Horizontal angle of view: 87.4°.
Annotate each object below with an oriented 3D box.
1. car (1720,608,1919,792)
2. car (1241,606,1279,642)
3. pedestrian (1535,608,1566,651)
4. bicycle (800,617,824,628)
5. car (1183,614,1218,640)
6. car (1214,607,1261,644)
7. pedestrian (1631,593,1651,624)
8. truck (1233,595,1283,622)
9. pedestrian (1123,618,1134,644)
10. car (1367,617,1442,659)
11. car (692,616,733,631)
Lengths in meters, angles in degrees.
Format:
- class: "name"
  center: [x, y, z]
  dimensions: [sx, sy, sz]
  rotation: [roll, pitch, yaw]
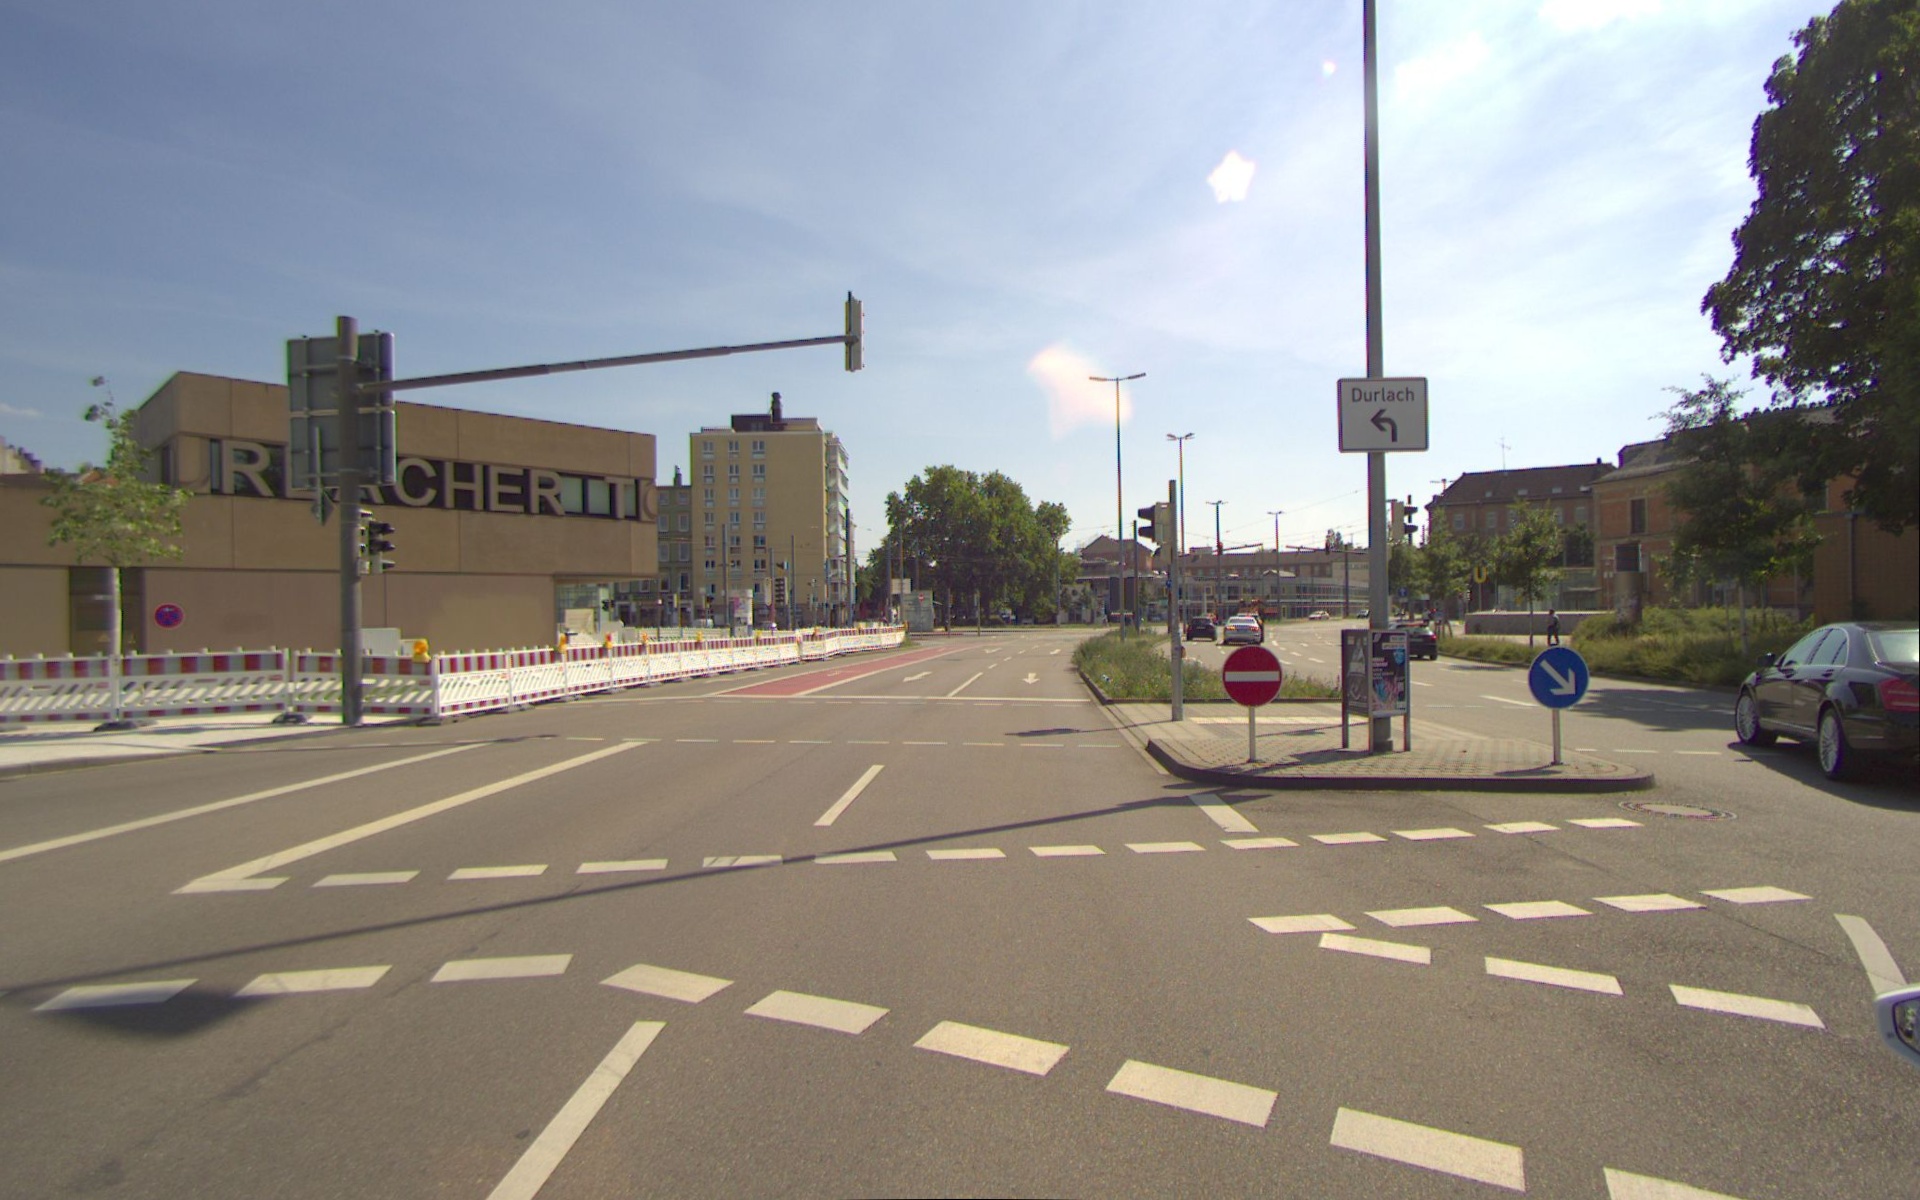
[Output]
- class: "car"
  center: [9.558, 0.890, 10.377]
  dimensions: [1.830, 1.550, 4.709]
  rotation: [-2, -2, 26]
- class: "car"
  center: [17.541, 1.399, 58.871]
  dimensions: [1.960, 2.040, 4.002]
  rotation: [-1, -1, 14]
- class: "pedestrian"
  center: [24.660, 1.224, 41.972]
  dimensions: [0.856, 1.748, 0.800]
  rotation: [-1, -1, 11]
- class: "bicycle"
  center: [-17.100, 2.625, 116.071]
  dimensions: [2.770, 1.239, 0.992]
  rotation: [-1, 2, -6]
- class: "car"
  center: [14.568, 1.602, 60.723]
  dimensions: [1.764, 1.530, 4.001]
  rotation: [-1, -1, 18]
- class: "car"
  center: [14.552, 1.317, 52.851]
  dimensions: [1.959, 1.840, 4.003]
  rotation: [-1, -1, 10]
- class: "pedestrian"
  center: [37.166, 0.488, 54.838]
  dimensions: [0.638, 1.683, 0.650]
  rotation: [0, -1, -4]
- class: "truck"
  center: [43.596, 1.232, 146.756]
  dimensions: [7.856, 3.780, 3.042]
  rotation: [0, -1, -37]
- class: "pedestrian"
  center: [11.097, 2.014, 66.153]
  dimensions: [0.637, 1.683, 0.663]
  rotation: [-1, -1, 22]
- class: "car"
  center: [17.242, 1.435, 39.163]
  dimensions: [1.763, 1.530, 4.003]
  rotation: [0, -1, 10]
- class: "car"
  center: [-26.417, 2.476, 107.209]
  dimensions: [3.965, 1.530, 1.780]
  rotation: [0, -1, -39]
